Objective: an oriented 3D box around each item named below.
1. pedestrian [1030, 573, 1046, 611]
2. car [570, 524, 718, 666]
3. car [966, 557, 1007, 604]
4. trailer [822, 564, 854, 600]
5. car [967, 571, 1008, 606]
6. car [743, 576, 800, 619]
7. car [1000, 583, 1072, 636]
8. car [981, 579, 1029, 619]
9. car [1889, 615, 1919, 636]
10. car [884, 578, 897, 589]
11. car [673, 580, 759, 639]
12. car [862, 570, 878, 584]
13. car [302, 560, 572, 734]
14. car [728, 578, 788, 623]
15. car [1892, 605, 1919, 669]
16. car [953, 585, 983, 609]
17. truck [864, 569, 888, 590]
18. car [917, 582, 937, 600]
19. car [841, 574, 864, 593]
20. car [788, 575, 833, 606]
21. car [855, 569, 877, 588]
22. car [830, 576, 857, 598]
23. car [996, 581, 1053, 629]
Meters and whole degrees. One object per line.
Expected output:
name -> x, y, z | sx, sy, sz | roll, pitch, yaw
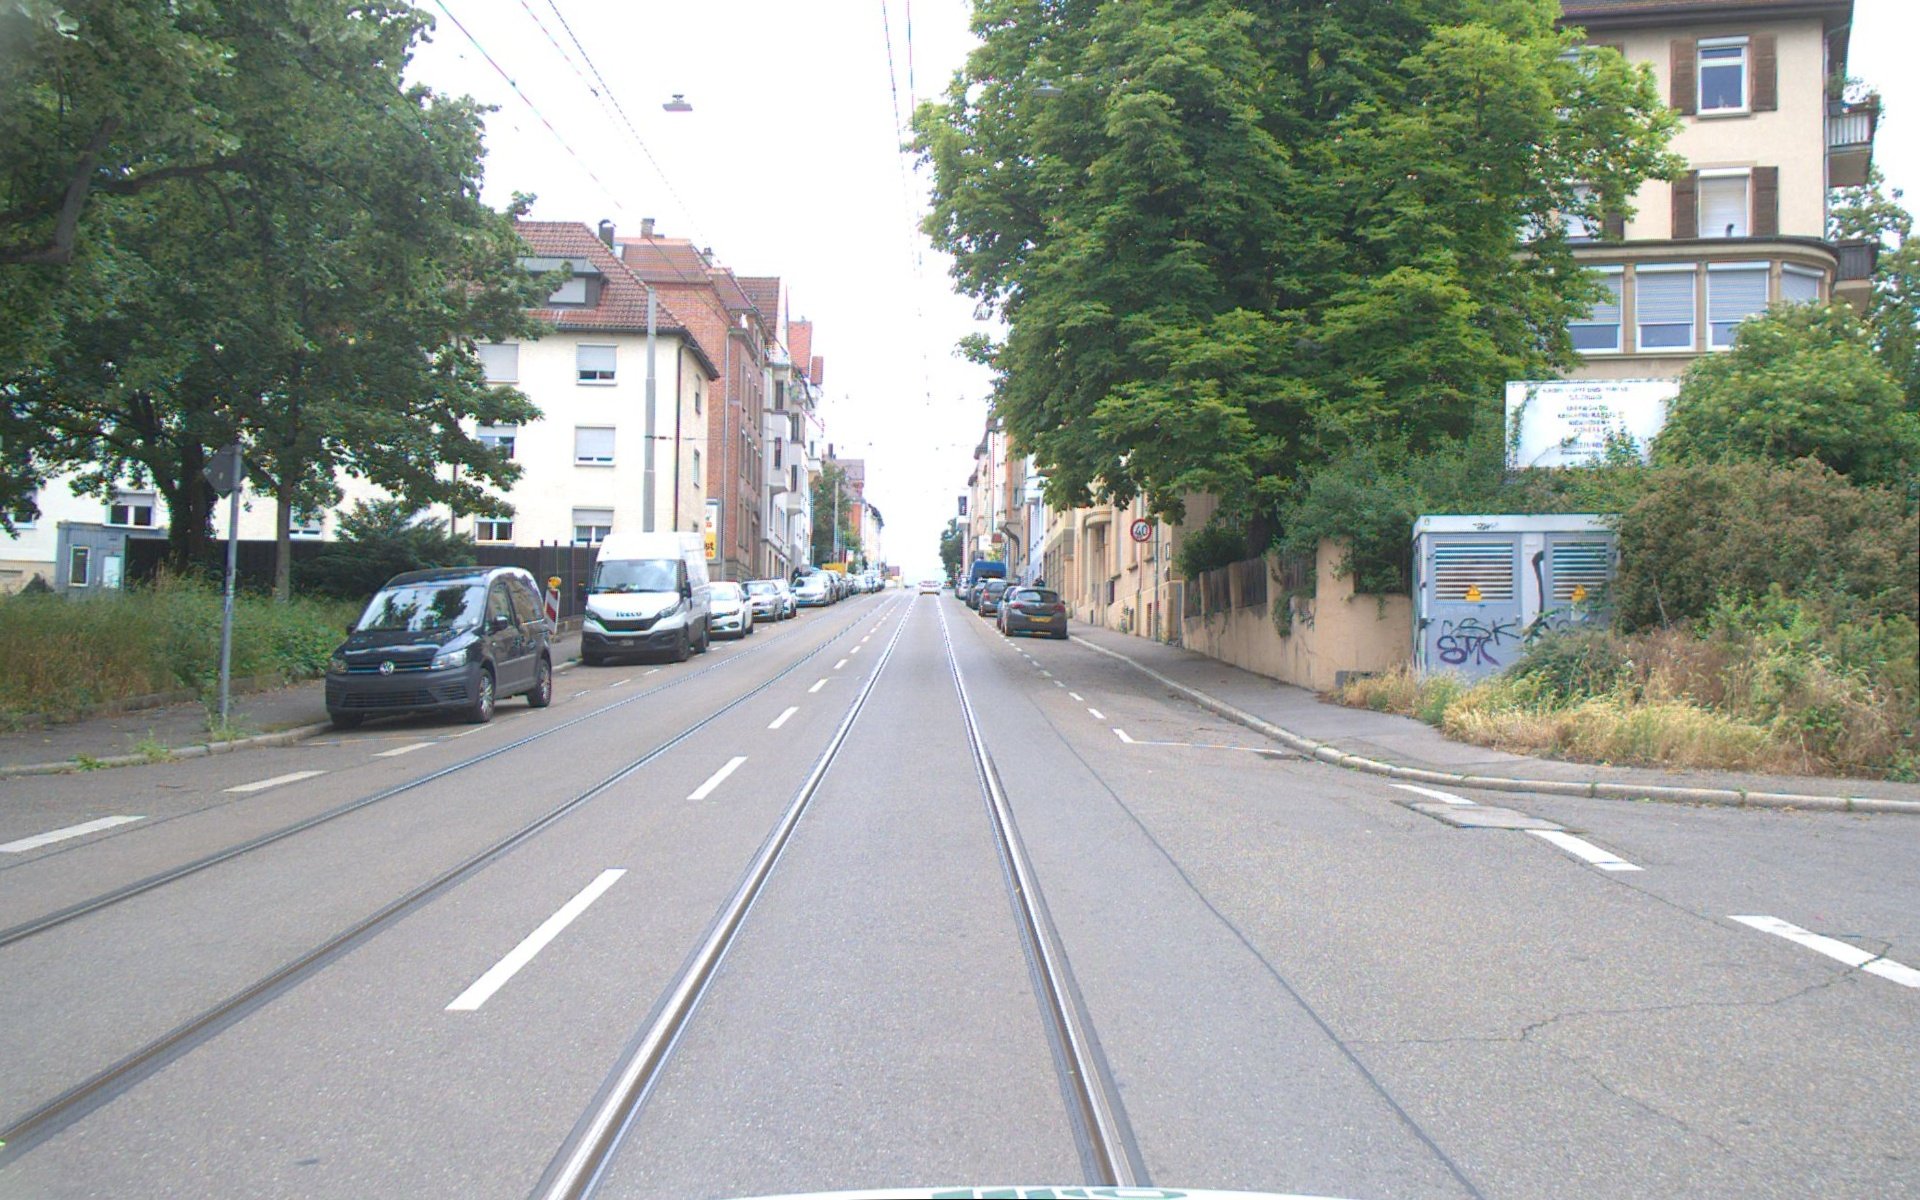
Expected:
pedestrian -> 3.585, -0.361, 76.395 | 0.530, 1.711, 0.515 | -3, -2, -9
car -> -6.515, -0.153, 34.857 | 2.115, 2.652, 6.216 | -2, 1, -3
car -> 1.400, -1.018, 87.966 | 1.953, 2.418, 5.055 | 1, 0, -1
trailer -> -7.794, -1.185, 105.666 | 1.713, 2.193, 4.071 | -1, 1, -1
car -> 1.347, -0.567, 82.587 | 1.744, 1.557, 4.191 | 4, 0, -2
car -> -7.050, -0.114, 62.190 | 1.791, 1.454, 4.625 | -3, 1, -3
car -> 2.200, 0.261, 48.892 | 1.802, 1.427, 4.166 | 3, 0, -1
car -> 1.888, -0.069, 70.248 | 1.790, 1.545, 4.027 | 3, 1, -1
car -> 70.209, 1.905, 123.055 | 1.710, 1.568, 3.783 | -1, -1, 27
car -> -10.420, -2.489, 249.371 | 1.817, 1.635, 4.296 | 1, 0, -1
car -> -6.487, 0.212, 44.331 | 1.684, 1.427, 4.313 | -2, 1, -1
car -> -9.494, -2.450, 174.793 | 1.663, 1.458, 4.479 | -1, 1, -3
car -> -6.206, 0.486, 20.239 | 1.726, 1.806, 4.668 | -3, 0, 0
car -> -7.020, -0.004, 57.710 | 1.568, 1.392, 3.807 | -3, 1, 0
car -> 25.051, 0.930, 42.482 | 1.710, 1.568, 3.783 | -1, -1, 27
car -> 0.509, -0.217, 109.799 | 1.715, 1.414, 4.306 | 3, 0, -2
truck -> -9.315, -2.309, 183.308 | 2.233, 2.226, 8.025 | 1, 1, 0
car -> -2.942, -0.774, 146.308 | 1.638, 1.539, 3.796 | 1, 1, -2
car -> -9.396, -1.470, 145.016 | 1.662, 1.583, 3.850 | 1, 0, 0
car -> -7.368, -0.487, 81.712 | 1.790, 1.454, 4.839 | -1, 1, -1
car -> -8.885, -1.996, 156.465 | 1.708, 1.766, 4.519 | -1, 0, 0
car -> -8.242, -0.914, 117.397 | 1.662, 1.494, 3.023 | -1, 0, -1
car -> 2.114, 0.141, 55.217 | 1.661, 1.428, 3.667 | 3, 1, -1
